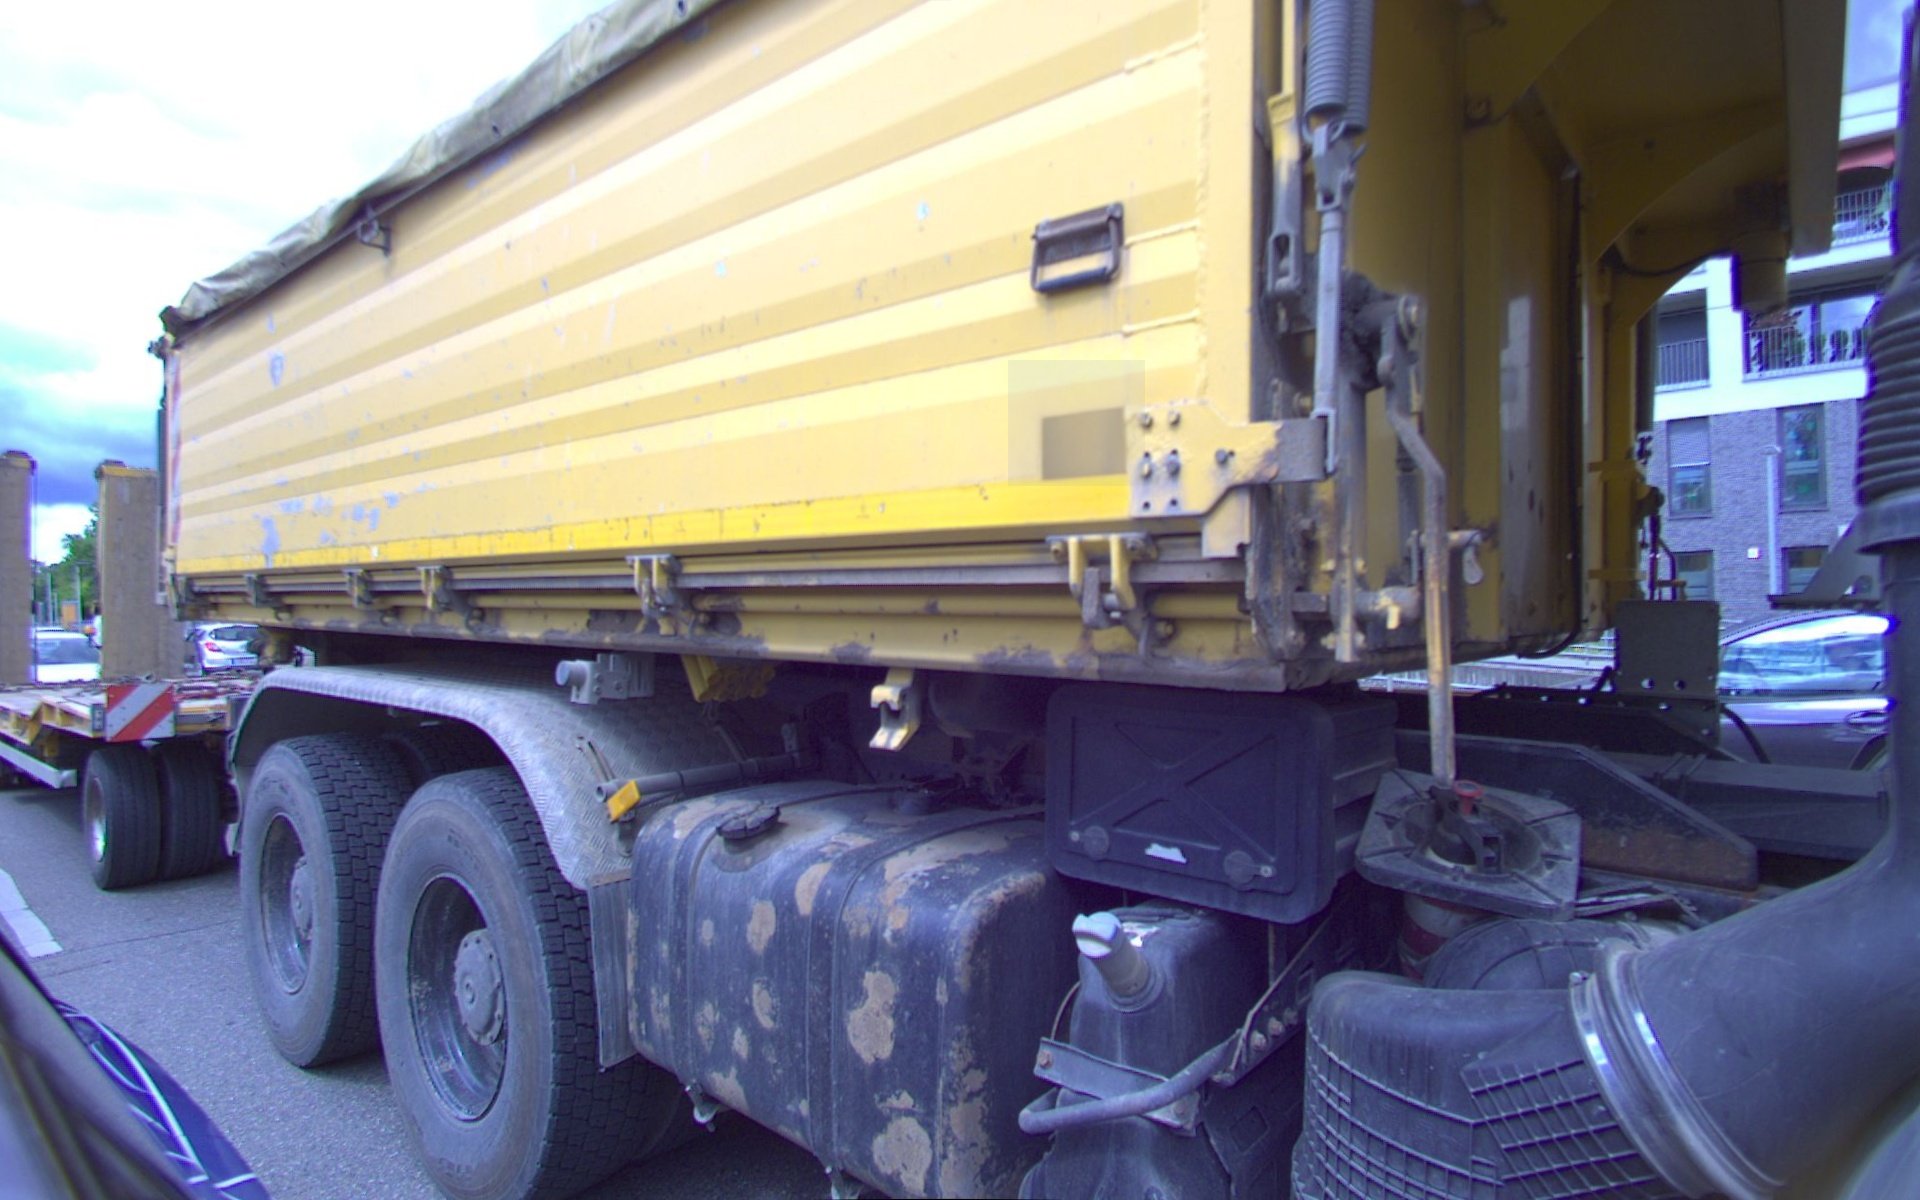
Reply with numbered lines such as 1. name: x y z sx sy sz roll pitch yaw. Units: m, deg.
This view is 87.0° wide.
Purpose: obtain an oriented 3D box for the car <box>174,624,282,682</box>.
1. car: -20.257 1.438 27.963 3.564 1.469 1.683 -2 -1 41

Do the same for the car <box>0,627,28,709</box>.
1. car: -19.622 1.303 19.761 3.998 1.490 1.671 -1 0 41

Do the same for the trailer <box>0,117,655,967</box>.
1. trailer: -6.877 -0.147 8.846 10.909 3.548 2.678 -2 -1 41

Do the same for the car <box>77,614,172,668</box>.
1. car: -30.116 1.460 36.430 4.861 1.785 1.863 -2 -1 41

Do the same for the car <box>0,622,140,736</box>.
1. car: -14.110 1.120 15.566 3.998 1.490 1.671 -1 0 41

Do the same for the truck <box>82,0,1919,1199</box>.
1. truck: 0.141 -0.043 2.679 7.775 3.026 2.692 -1 0 41

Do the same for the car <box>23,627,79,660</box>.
1. car: -44.253 2.106 49.271 3.552 1.509 1.623 -2 -1 41
